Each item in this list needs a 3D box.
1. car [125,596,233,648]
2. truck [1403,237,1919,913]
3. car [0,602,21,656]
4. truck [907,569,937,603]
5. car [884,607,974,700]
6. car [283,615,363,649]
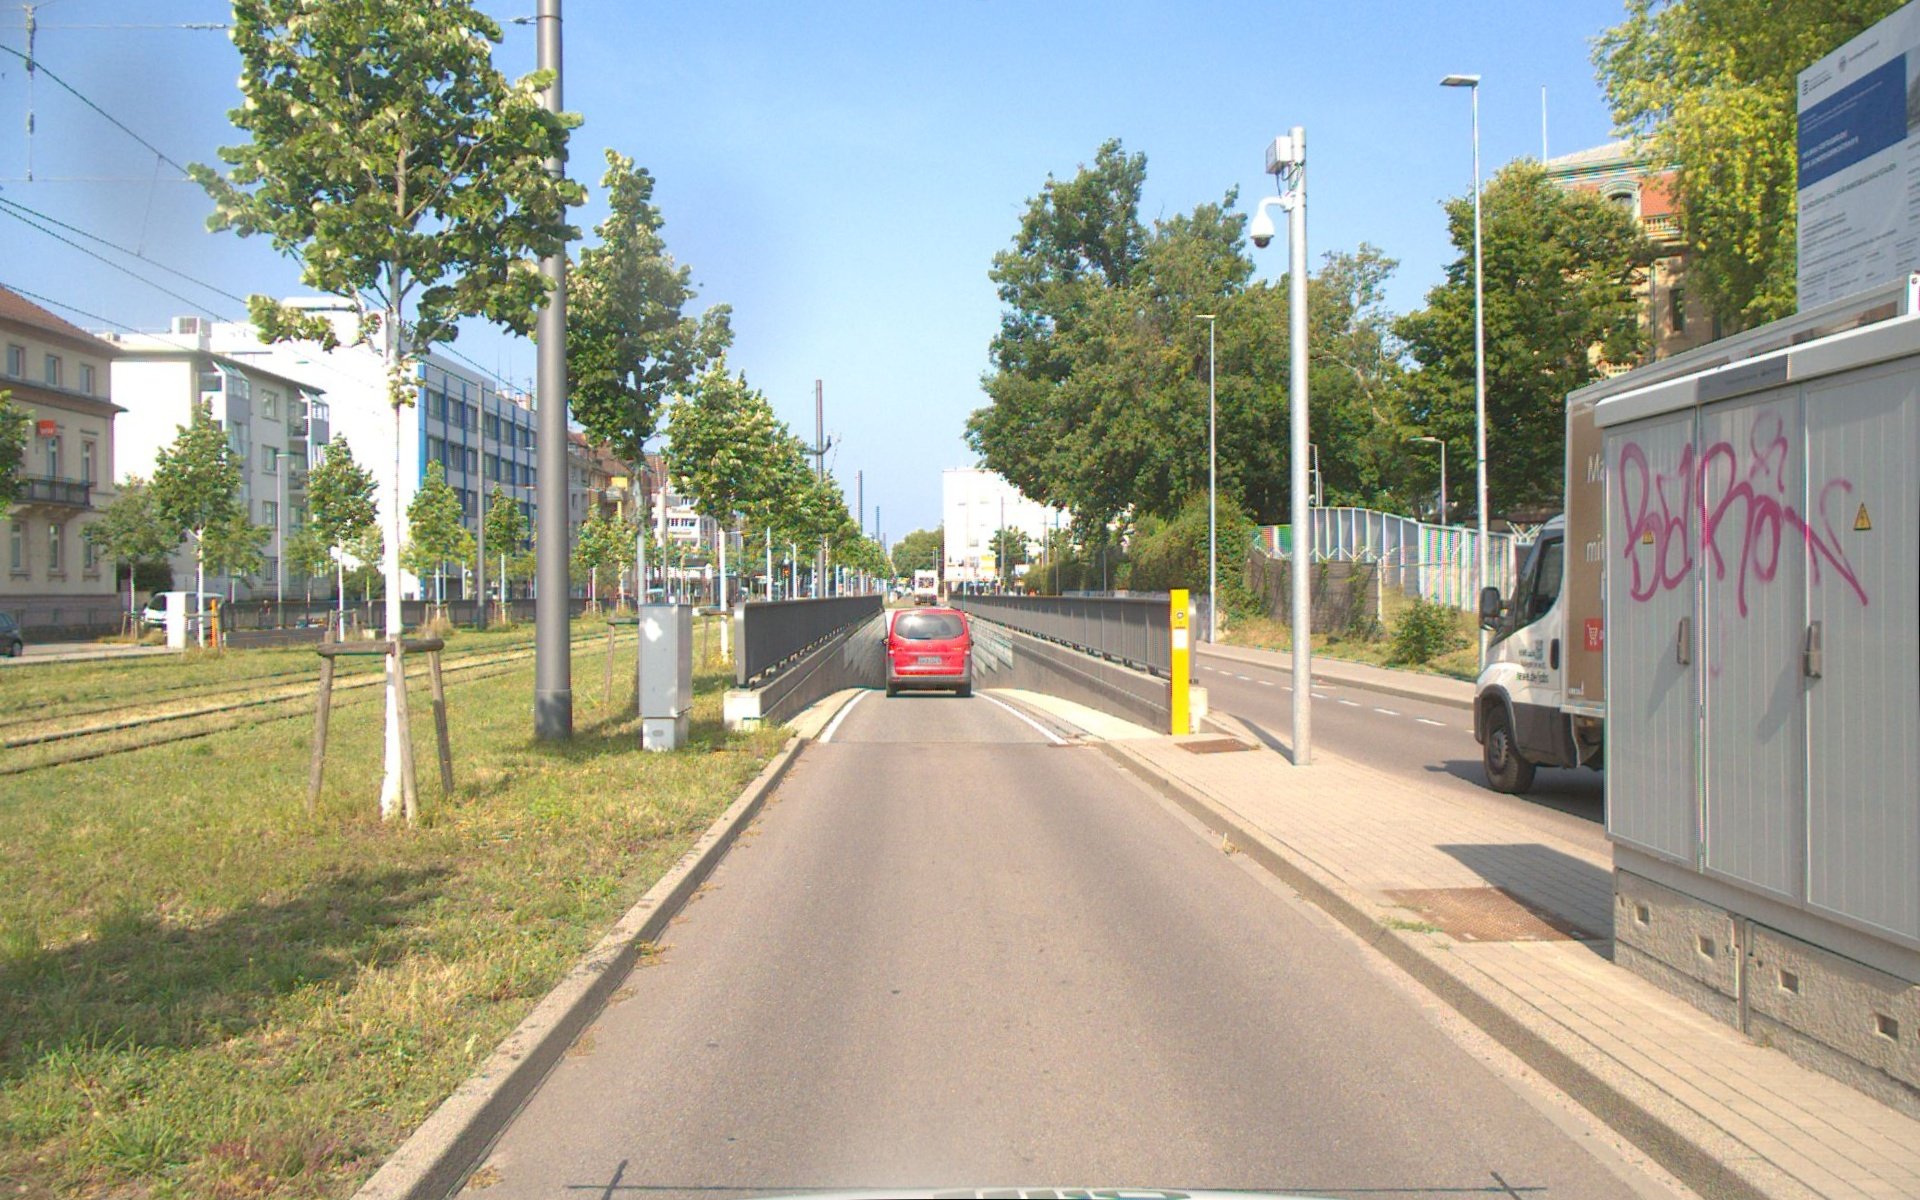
[{"bbox_3d":[-32.903,0.964,69.849,2.204,2.049,5.259,1,-2,-3],"label":"car"},{"bbox_3d":[5.508,-0.081,11.534,2.452,3.114,7.817,1,0,-2],"label":"truck"},{"bbox_3d":[-27.991,0.870,46.188,1.488,1.489,3.823,-1,2,-3],"label":"car"},{"bbox_3d":[-4.447,-1.587,191.241,3.323,3.791,10.447,-1,0,-2],"label":"truck"},{"bbox_3d":[-0.647,1.138,36.772,1.862,1.892,4.000,1,0,0],"label":"car"},{"bbox_3d":[-28.654,1.460,74.575,1.953,1.492,4.436,0,-1,-1],"label":"car"}]
